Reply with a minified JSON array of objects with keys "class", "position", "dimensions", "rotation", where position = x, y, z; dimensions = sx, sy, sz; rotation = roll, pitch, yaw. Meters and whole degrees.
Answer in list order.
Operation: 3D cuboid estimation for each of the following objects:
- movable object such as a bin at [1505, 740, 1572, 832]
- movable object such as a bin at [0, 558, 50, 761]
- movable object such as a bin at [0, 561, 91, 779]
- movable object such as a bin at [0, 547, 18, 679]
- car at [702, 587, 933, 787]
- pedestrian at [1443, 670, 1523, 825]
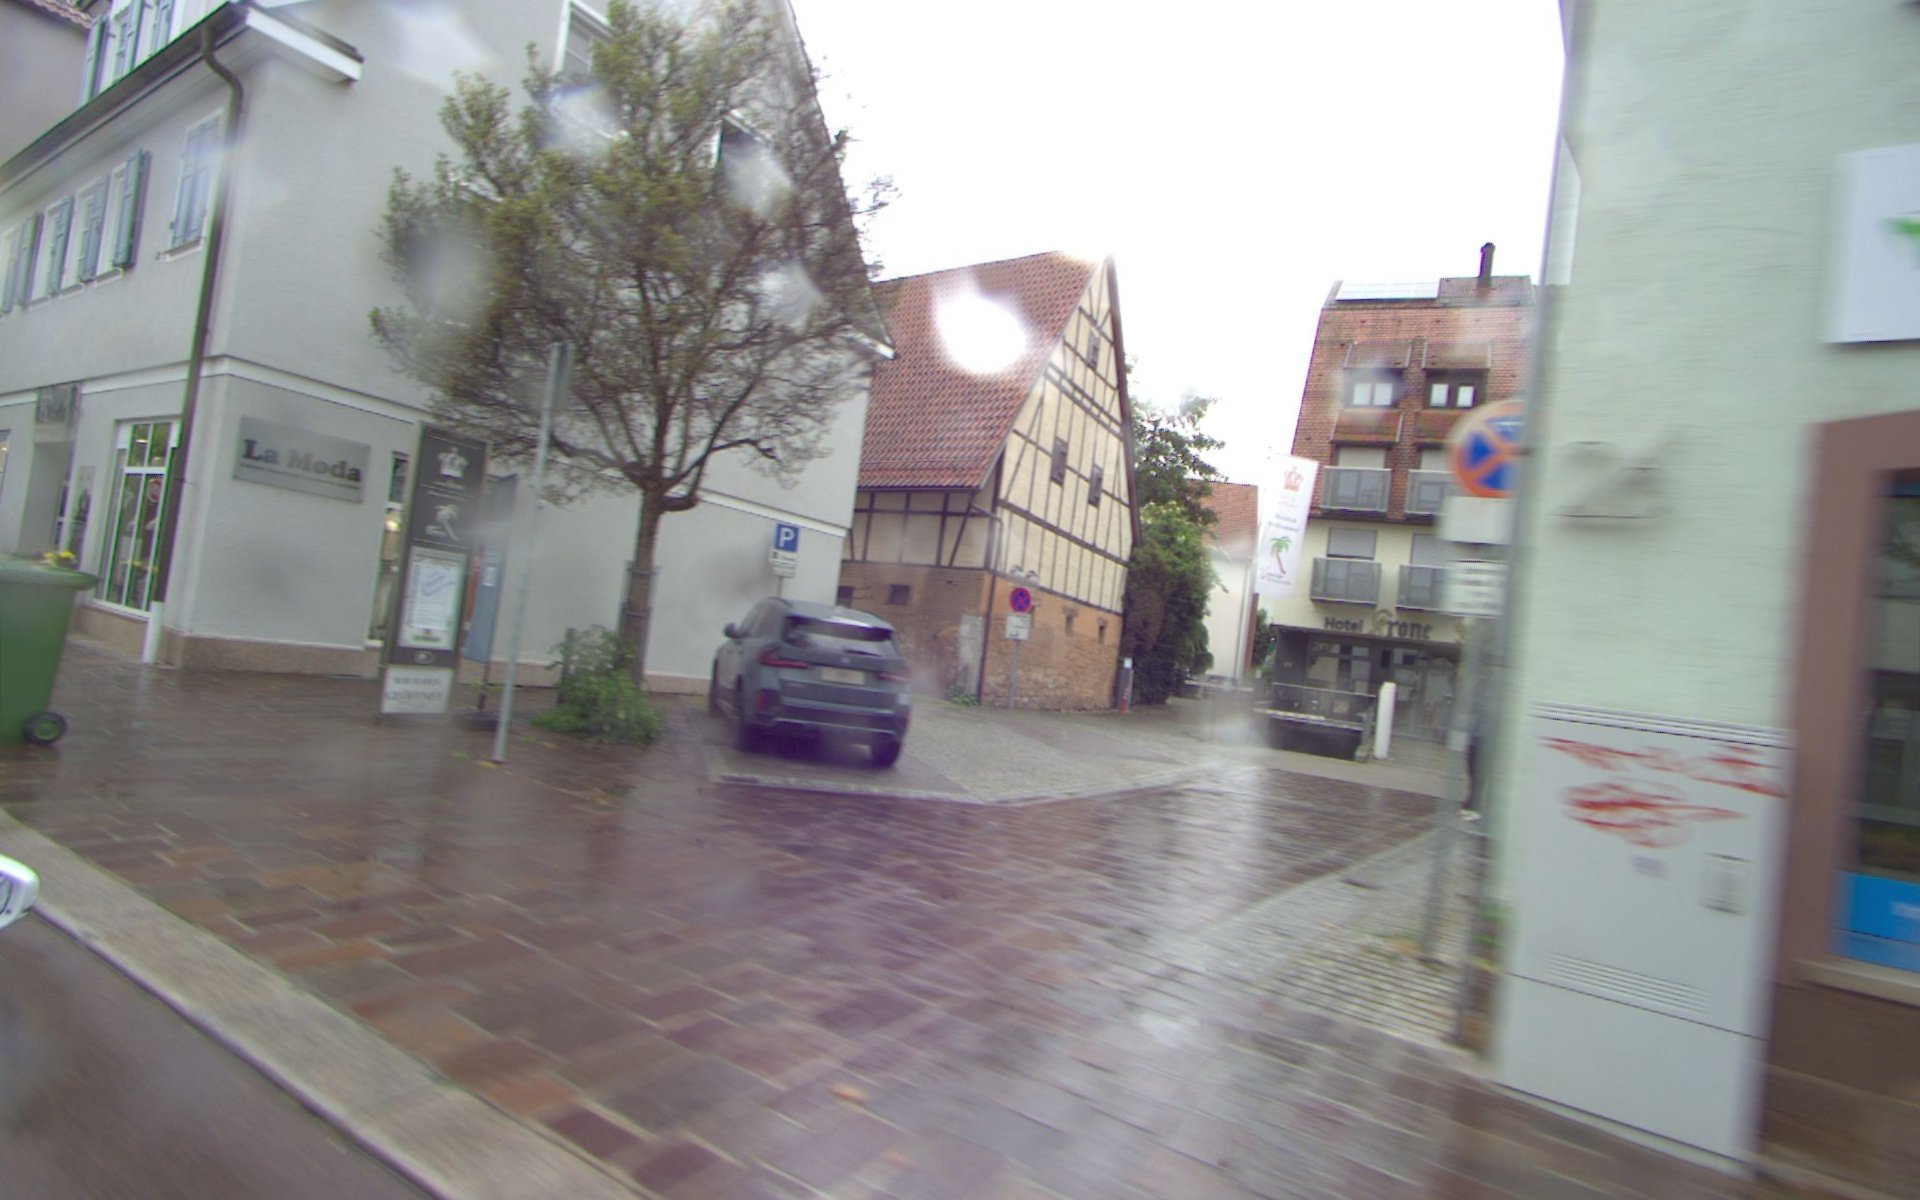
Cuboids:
[{"class":"movable object such as a bin","position":[7.586,2.426,13.185],"dimensions":[0.563,1.092,0.539],"rotation":[9,-2,-44]},{"class":"movable object such as a bin","position":[-6.326,0.347,6.320],"dimensions":[0.533,1.259,0.659],"rotation":[6,-2,31]},{"class":"movable object such as a bin","position":[-5.830,0.396,6.030],"dimensions":[0.611,1.252,0.659],"rotation":[6,-2,31]},{"class":"movable object such as a bin","position":[-6.794,0.238,6.585],"dimensions":[0.533,1.270,0.679],"rotation":[6,-2,31]},{"class":"car","position":[-1.877,0.848,11.819],"dimensions":[1.798,1.675,4.342],"rotation":[8,-1,-18]},{"class":"pedestrian","position":[6.947,1.945,13.395],"dimensions":[0.503,1.943,0.572],"rotation":[8,0,1]}]
